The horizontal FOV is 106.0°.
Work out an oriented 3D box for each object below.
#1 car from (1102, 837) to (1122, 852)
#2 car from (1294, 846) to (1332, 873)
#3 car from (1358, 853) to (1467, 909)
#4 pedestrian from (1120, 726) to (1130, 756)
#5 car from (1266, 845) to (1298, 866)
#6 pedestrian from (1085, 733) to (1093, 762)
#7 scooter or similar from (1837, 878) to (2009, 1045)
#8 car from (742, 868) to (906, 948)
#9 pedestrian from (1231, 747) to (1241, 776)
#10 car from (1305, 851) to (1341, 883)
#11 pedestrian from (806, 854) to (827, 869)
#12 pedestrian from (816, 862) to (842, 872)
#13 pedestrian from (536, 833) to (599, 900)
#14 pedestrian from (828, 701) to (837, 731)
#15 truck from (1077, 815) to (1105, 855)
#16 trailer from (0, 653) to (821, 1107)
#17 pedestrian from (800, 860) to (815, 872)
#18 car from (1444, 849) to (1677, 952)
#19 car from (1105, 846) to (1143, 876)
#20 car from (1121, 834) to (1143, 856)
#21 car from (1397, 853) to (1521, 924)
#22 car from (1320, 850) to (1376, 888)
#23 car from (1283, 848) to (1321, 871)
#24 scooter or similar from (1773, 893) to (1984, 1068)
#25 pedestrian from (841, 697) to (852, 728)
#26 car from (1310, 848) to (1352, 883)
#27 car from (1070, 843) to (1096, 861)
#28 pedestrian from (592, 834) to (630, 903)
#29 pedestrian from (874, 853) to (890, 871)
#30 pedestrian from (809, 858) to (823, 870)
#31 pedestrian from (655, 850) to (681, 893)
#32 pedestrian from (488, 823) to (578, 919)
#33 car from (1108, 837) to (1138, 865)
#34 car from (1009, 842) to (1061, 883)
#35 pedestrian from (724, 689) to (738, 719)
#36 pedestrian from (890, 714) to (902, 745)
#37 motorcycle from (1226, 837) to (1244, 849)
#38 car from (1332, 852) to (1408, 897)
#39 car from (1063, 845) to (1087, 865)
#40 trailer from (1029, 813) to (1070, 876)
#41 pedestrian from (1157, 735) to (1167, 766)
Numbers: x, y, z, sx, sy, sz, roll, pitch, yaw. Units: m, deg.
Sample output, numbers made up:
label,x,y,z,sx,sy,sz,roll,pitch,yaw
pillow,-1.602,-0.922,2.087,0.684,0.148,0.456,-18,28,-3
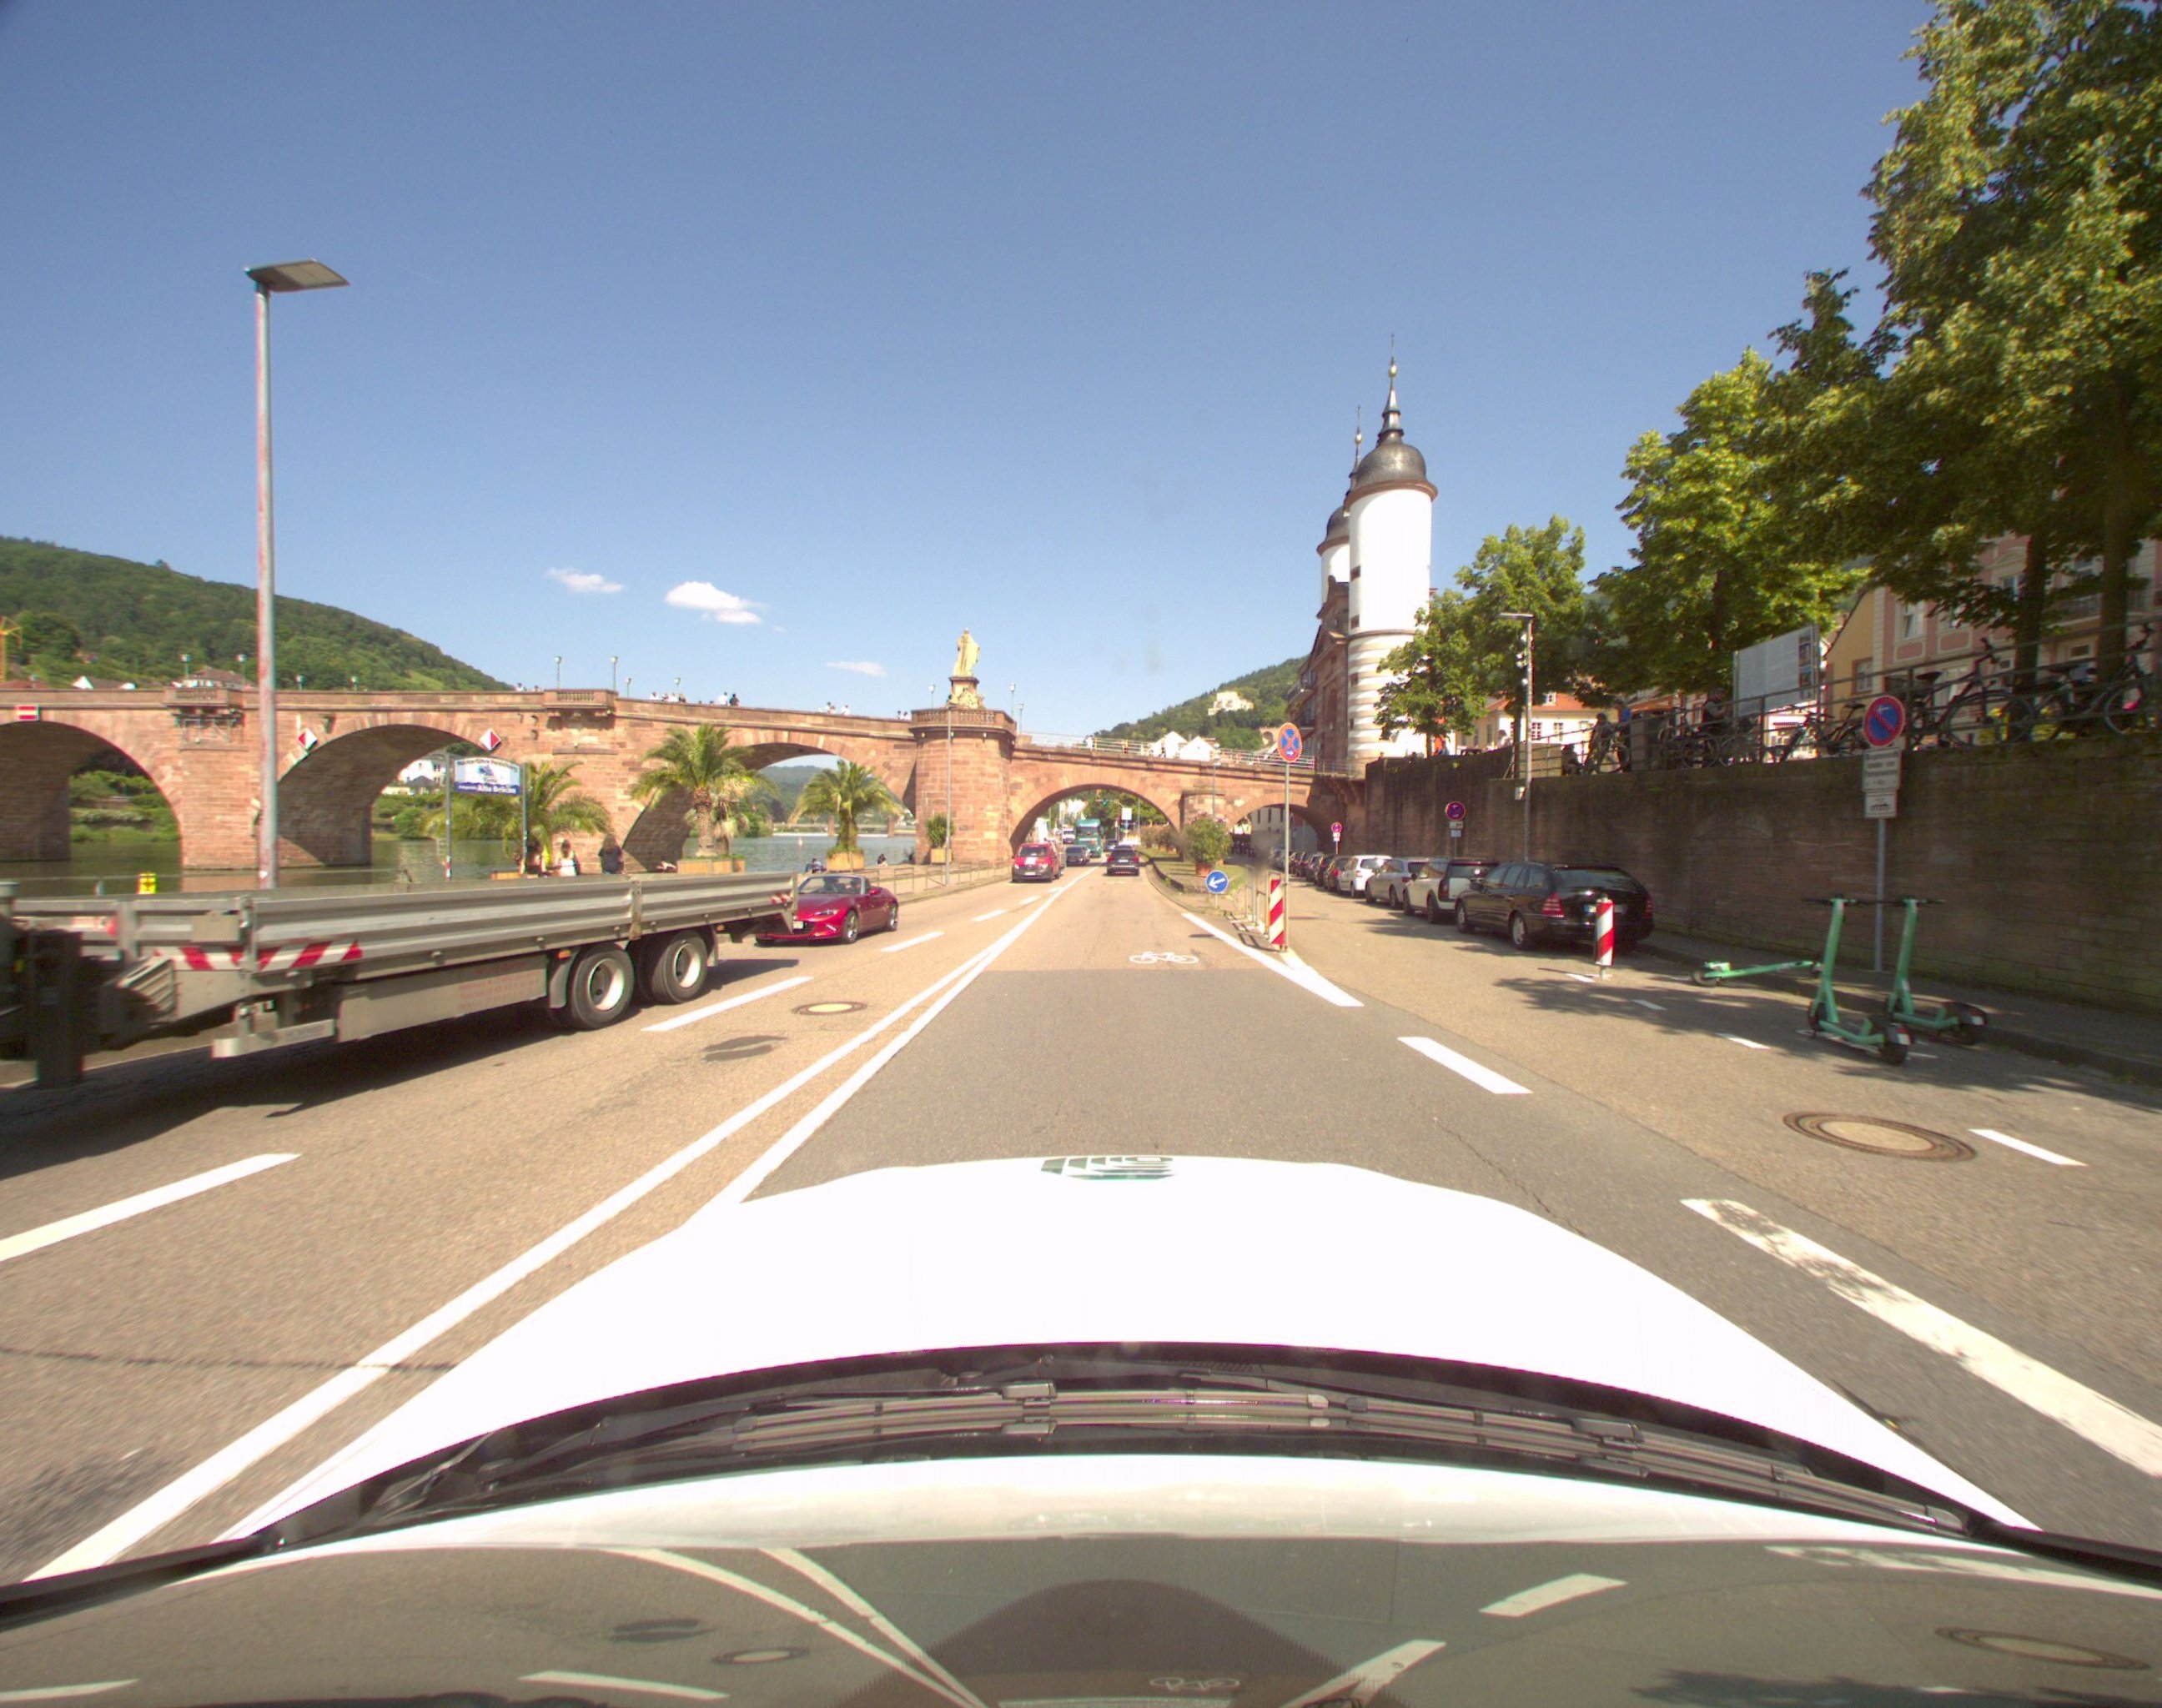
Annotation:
label,x,y,z,sx,sy,sz,roll,pitch,yaw
car,3.632,-1.102,96.123,1.990,1.662,3.994,0,1,-5
car,13.750,0.301,48.464,1.764,1.502,3.998,-1,1,10
car,9.555,0.700,23.870,1.744,1.432,4.765,0,1,6
pedestrian,3.149,-8.019,57.850,0.681,2.013,0.587,-1,0,4
car,15.584,0.095,63.358,1.883,1.492,4.425,-1,1,7
pedestrian,0.571,-7.585,57.887,0.578,2.013,0.587,-1,0,4
scooter or similar,7.106,0.848,6.945,0.527,1.230,1.278,-1,0,21
car,-4.682,0.932,15.415,1.663,1.194,3.634,-2,0,5
pedestrian,11.324,-6.754,59.566,0.681,2.013,0.587,-1,0,4
car,12.463,0.614,42.164,1.580,1.520,3.918,0,1,14
pedestrian,-13.682,0.407,42.149,0.781,0.742,0.713,1,1,14
pedestrian,-12.615,0.657,40.851,0.642,0.421,1.744,-2,1,5
pedestrian,-12.578,0.297,19.977,0.792,1.534,1.114,-4,0,-4
pedestrian,-17.277,-9.568,56.625,0.457,2.013,0.554,-1,0,-3
truck,1.030,-1.932,80.867,2.514,3.747,6.251,-2,2,2
trailer,-5.457,0.170,8.146,2.683,2.531,6.961,-2,0,7
pedestrian,-13.619,0.585,40.600,0.460,0.564,0.516,-4,0,14
car,7.934,0.651,14.035,1.833,1.450,4.544,0,1,7
car,2.461,0.356,45.537,1.847,1.523,4.008,-1,1,6
car,4.812,-0.894,77.683,1.986,2.013,4.002,-1,1,2
car,8.594,0.715,18.848,1.602,1.413,3.914,0,1,9
car,10.652,0.558,32.757,1.699,1.388,4.422,-1,0,12
car,14.522,0.330,53.651,1.766,1.436,4.501,0,1,6
scooter or similar,5.976,0.885,6.207,0.527,1.089,1.445,-1,0,16
pedestrian,-16.192,-9.790,56.251,0.622,2.013,0.694,-1,0,-3
car,11.470,0.483,37.470,1.485,1.484,3.728,0,1,11
car,0.228,-0.186,70.522,1.714,1.436,4.408,-1,0,6
pedestrian,-11.804,0.338,20.442,0.799,1.691,0.838,0,1,-33
pedestrian,-14.384,0.573,58.861,0.722,1.241,1.148,0,0,8
pedestrian,-13.626,0.509,41.883,0.460,0.564,0.516,-4,0,14
pedestrian,-15.442,0.655,30.476,0.676,1.601,0.594,0,1,-5
pedestrian,-10.022,0.291,14.945,0.812,1.701,1.153,0,0,5
car,3.119,-0.225,59.889,1.984,2.013,4.006,-1,1,5
car,-2.180,0.354,39.659,1.865,1.827,4.550,-1,1,5
pedestrian,-24.071,-10.307,55.978,0.690,2.013,0.625,-1,0,0
pedestrian,-12.718,-8.557,56.011,0.622,2.013,0.694,-1,0,-3
motorcycle,17.392,-1.239,92.113,2.207,1.267,0.622,-1,2,-35
car,10.064,0.677,28.632,1.702,1.457,3.553,0,1,5
car,-0.420,0.049,62.112,1.528,1.436,3.733,-1,1,4
trailer,-1.674,-0.533,44.971,1.733,3.320,3.389,-2,1,5
pedestrian,5.448,-6.923,54.622,0.620,2.013,0.696,-1,0,5
